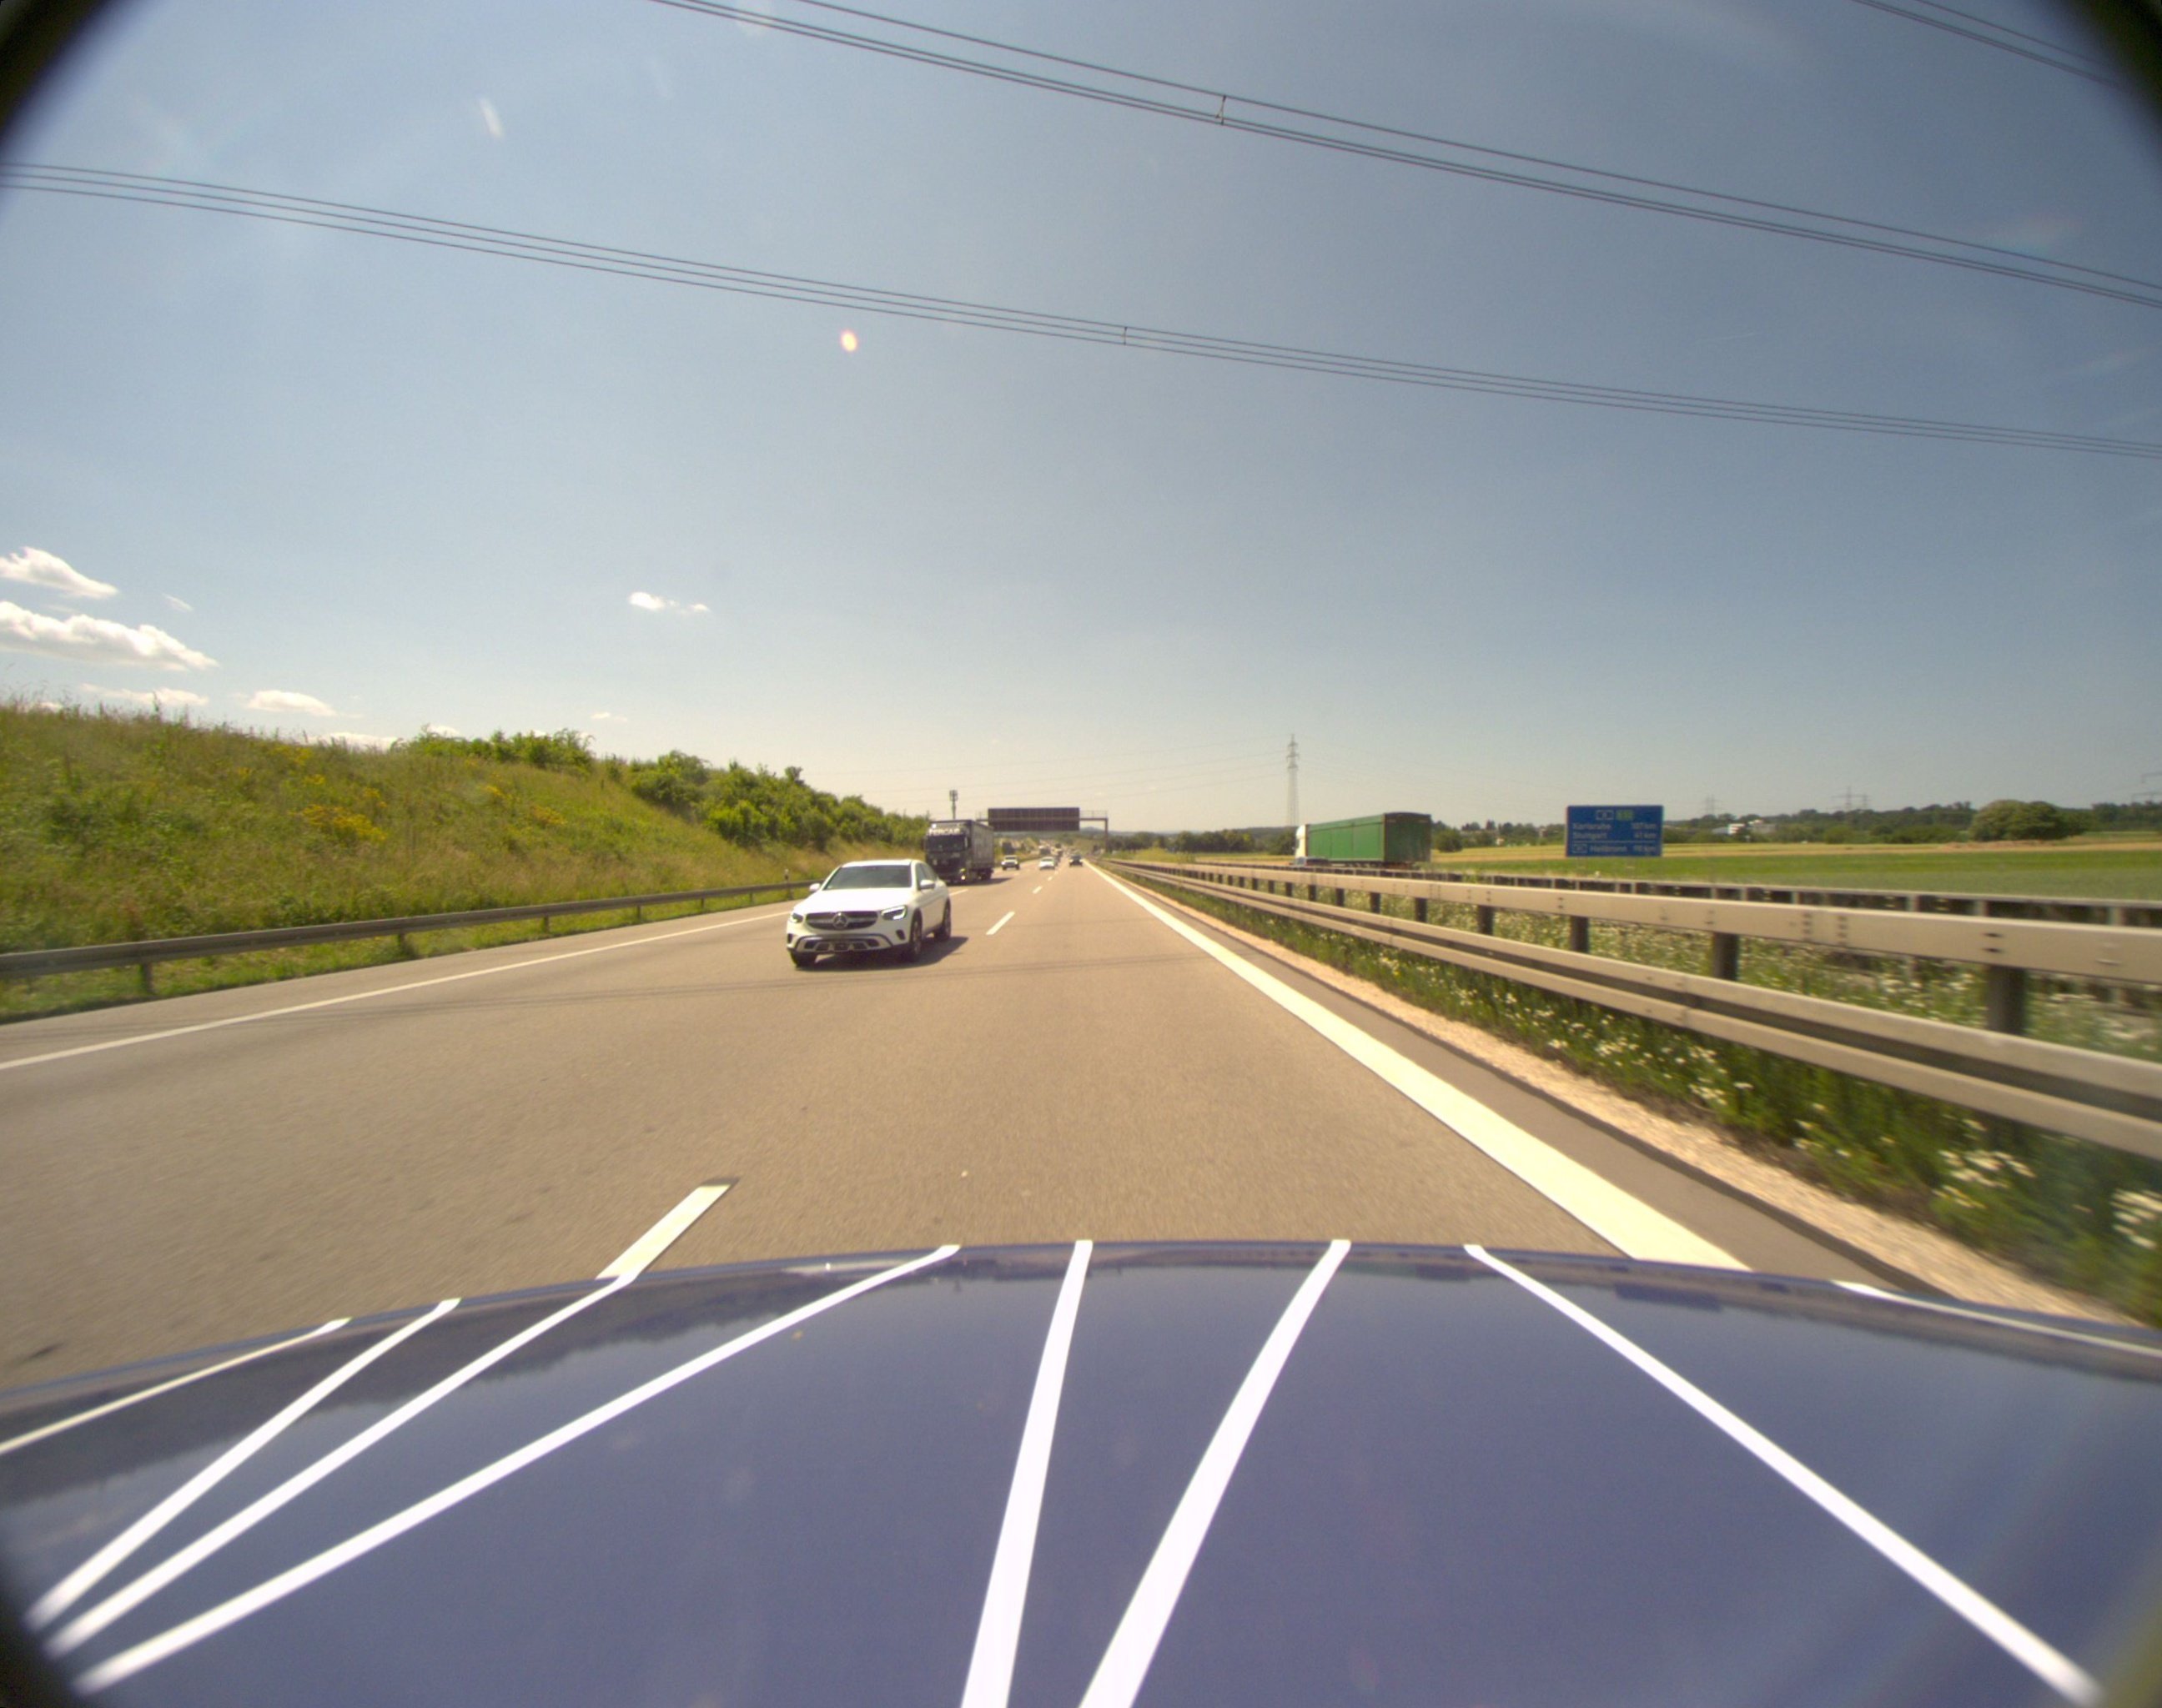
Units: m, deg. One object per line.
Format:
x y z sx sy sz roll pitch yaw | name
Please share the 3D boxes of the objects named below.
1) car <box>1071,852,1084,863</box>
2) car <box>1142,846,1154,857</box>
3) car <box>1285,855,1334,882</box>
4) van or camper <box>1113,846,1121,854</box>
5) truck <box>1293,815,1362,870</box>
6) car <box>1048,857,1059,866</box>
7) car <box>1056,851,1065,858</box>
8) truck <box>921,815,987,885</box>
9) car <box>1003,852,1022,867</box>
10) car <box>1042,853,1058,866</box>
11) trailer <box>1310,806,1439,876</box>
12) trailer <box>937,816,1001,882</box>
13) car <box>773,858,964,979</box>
-0.527 0.434 106.711 1.751 1.439 3.999 -2 0 -2 | car
12.911 -0.513 146.964 1.998 2.002 4.000 0 0 1 | car
13.232 0.816 44.231 1.638 1.456 4.000 1 0 0 | car
11.640 -1.385 245.667 2.233 2.494 6.596 -2 0 0 | van or camper
17.235 -0.809 53.445 2.730 3.539 5.899 -2 1 -1 | truck
-4.311 1.207 120.732 1.635 1.381 3.999 -2 1 -2 | car
-4.548 0.082 167.908 1.751 1.559 3.999 -2 1 -2 | car
-7.818 -0.259 47.689 2.759 3.997 6.787 -2 1 0 | truck
-8.760 0.734 97.280 2.040 1.794 4.249 -2 1 -1 | car
-3.699 0.661 90.842 1.780 1.425 4.690 -2 1 -1 | car
17.360 -0.742 46.302 2.761 3.573 12.533 -2 1 -1 | trailer
-7.834 -0.409 54.952 2.732 4.131 11.805 -2 1 0 | trailer
-3.458 0.943 13.568 1.919 1.571 5.229 -2 1 -1 | car
